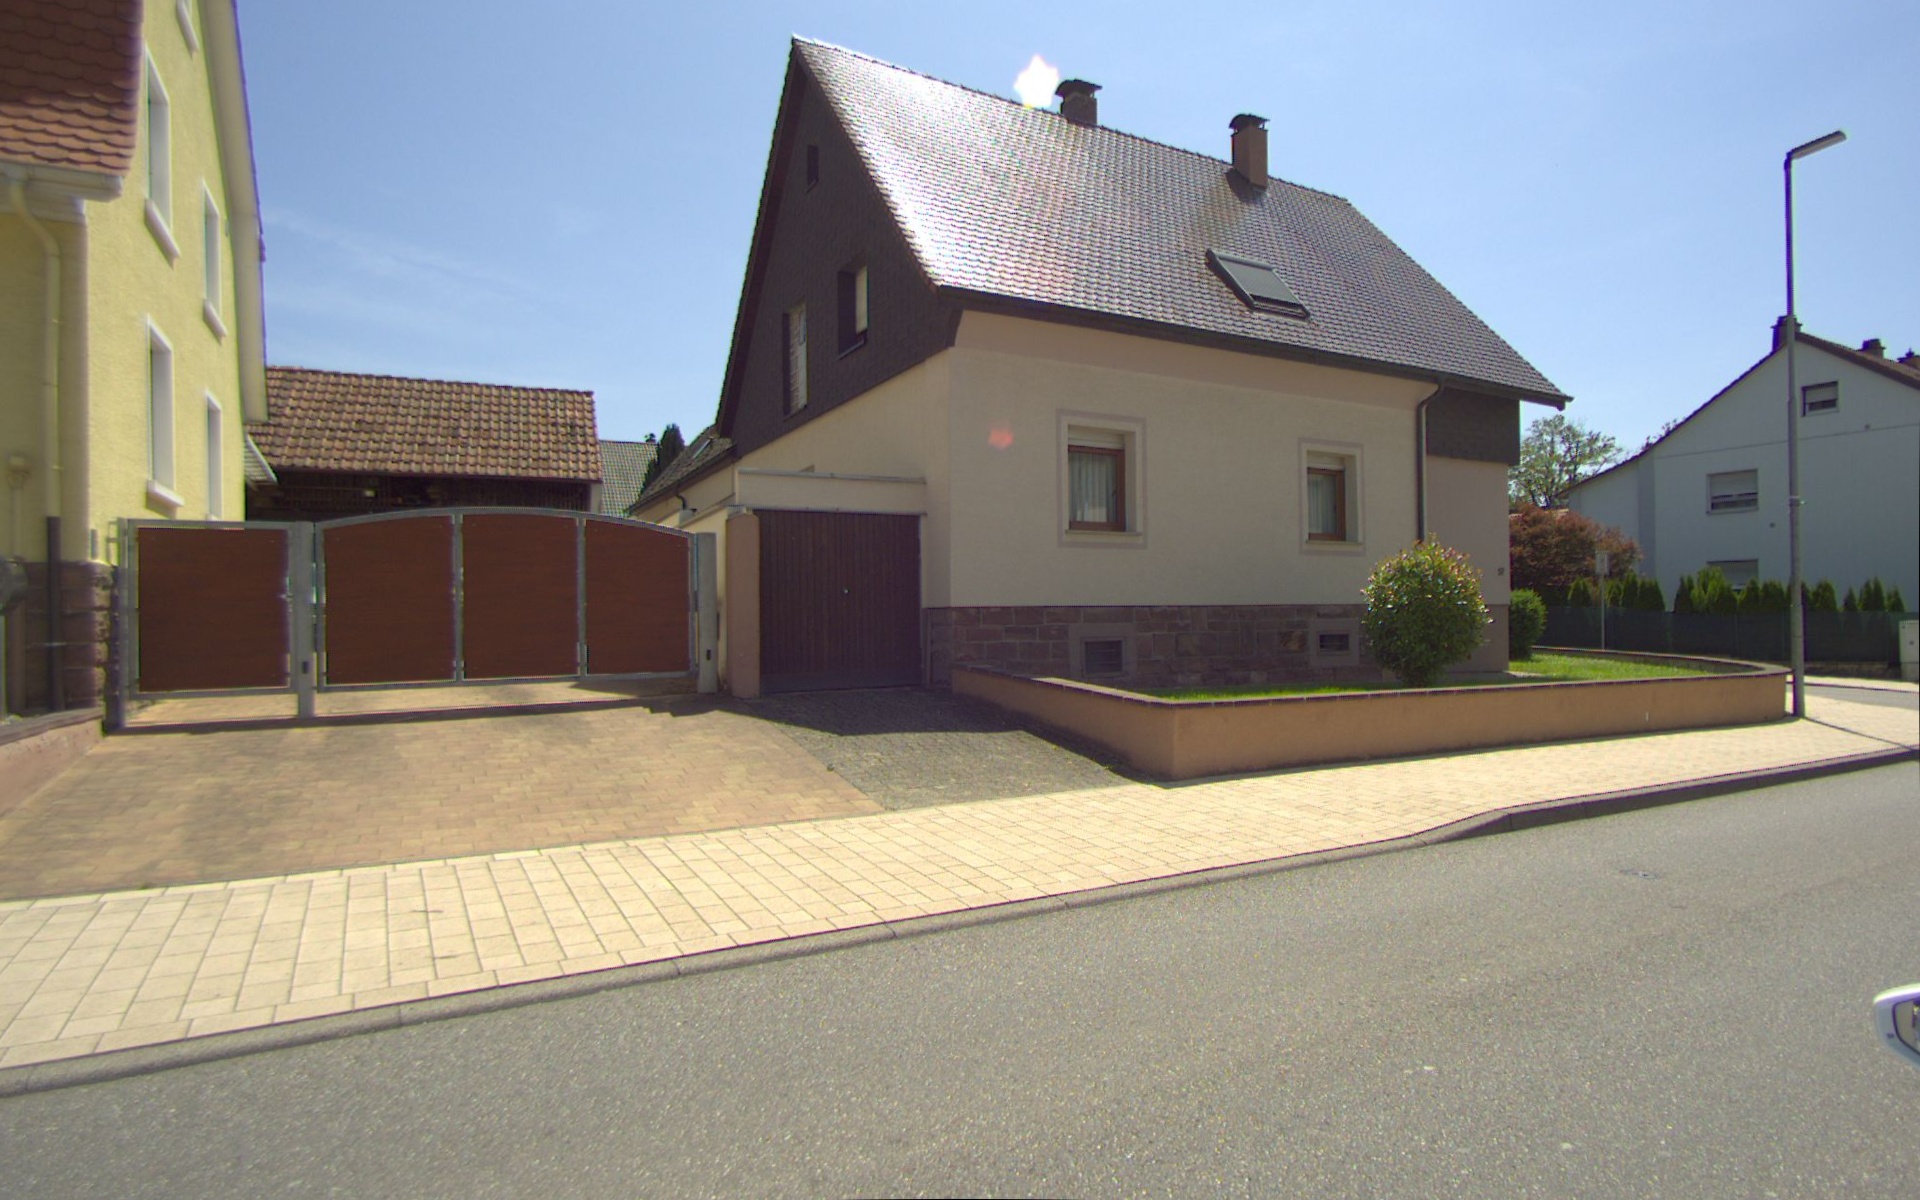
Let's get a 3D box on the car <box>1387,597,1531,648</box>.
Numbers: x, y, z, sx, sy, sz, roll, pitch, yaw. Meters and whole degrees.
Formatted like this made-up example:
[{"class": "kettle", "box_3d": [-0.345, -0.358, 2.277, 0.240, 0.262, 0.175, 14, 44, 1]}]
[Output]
[{"class": "car", "box_3d": [15.465, 0.669, 31.300, 1.728, 1.435, 3.730, 1, 0, -26]}]
